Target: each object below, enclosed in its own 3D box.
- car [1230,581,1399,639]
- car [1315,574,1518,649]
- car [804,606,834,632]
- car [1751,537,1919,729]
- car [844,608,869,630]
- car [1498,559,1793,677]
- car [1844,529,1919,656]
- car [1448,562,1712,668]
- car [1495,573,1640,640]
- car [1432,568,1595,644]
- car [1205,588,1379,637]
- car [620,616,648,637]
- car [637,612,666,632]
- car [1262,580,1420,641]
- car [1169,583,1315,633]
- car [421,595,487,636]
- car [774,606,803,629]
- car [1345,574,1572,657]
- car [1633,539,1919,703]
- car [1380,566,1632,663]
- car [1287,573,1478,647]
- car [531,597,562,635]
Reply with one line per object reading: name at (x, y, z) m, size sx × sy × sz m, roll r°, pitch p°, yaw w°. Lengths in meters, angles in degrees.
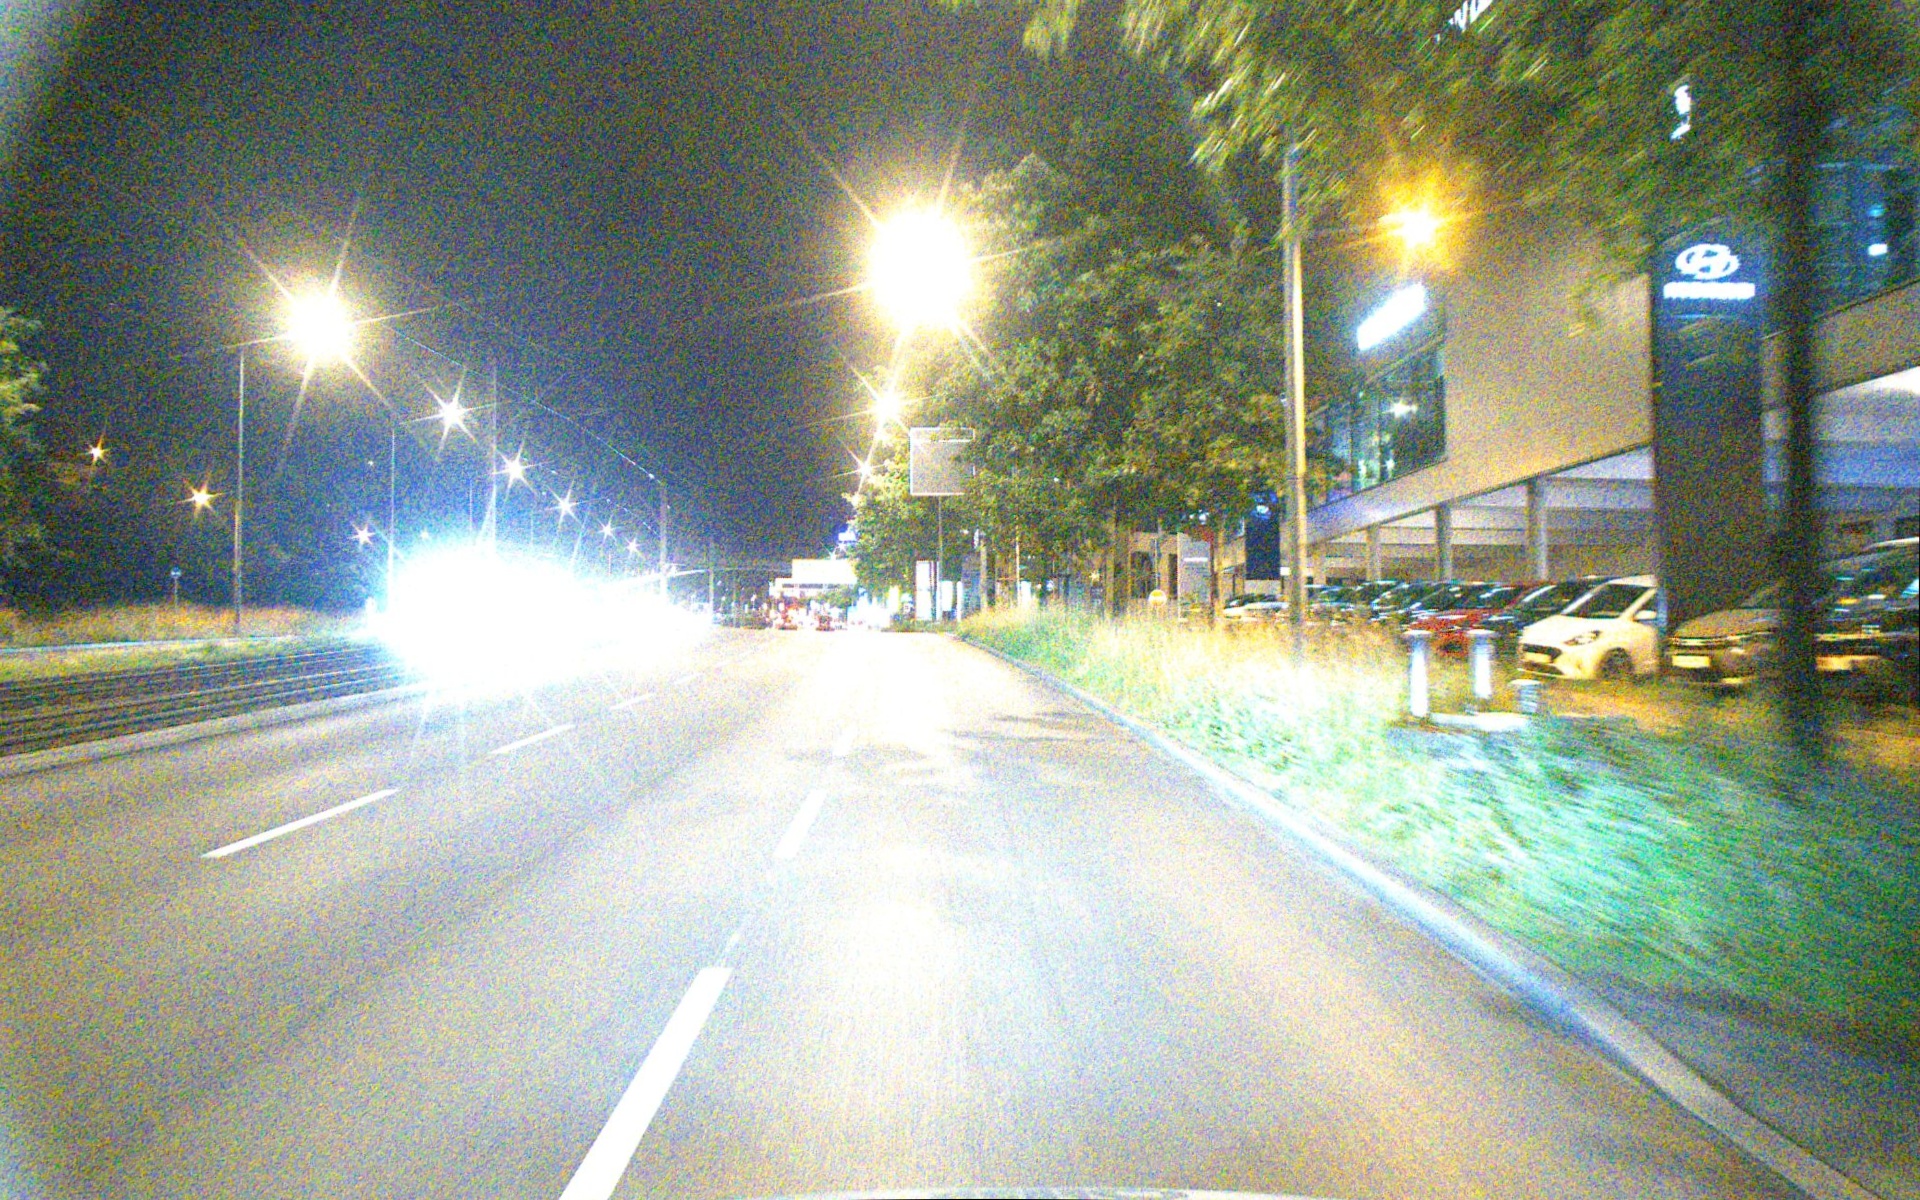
car at (9.267, 0.244, 43.291) m, size 3.927 × 1.448 × 1.898 m, roll 0°, pitch 1°, yaw -20°
car at (9.714, 0.205, 35.204) m, size 3.935 × 1.416 × 1.813 m, roll -2°, pitch 2°, yaw -24°
car at (-12.266, 1.643, 144.190) m, size 2.309 × 2.166 × 4.824 m, roll 0°, pitch 0°, yaw -2°
car at (9.946, 0.167, 15.779) m, size 4.010 × 1.595 × 1.849 m, roll -4°, pitch 1°, yaw -13°
car at (-10.427, 1.943, 167.026) m, size 2.378 × 2.150 × 4.824 m, roll 1°, pitch 0°, yaw -2°
car at (10.092, 0.239, 24.413) m, size 3.740 × 1.478 × 1.710 m, roll -3°, pitch 1°, yaw -16°
car at (16.299, -0.107, 25.134) m, size 1.816 × 1.951 × 4.761 m, roll 1°, pitch -1°, yaw -38°
car at (10.121, 0.223, 27.060) m, size 3.706 × 1.402 × 1.709 m, roll -4°, pitch 1°, yaw -15°
car at (14.463, 0.142, 39.449) m, size 1.310 × 1.512 × 3.025 m, roll 0°, pitch 0°, yaw -42°
car at (14.688, 0.195, 44.007) m, size 1.575 × 1.827 × 3.810 m, roll 1°, pitch -3°, yaw -42°
car at (9.251, 0.317, 46.012) m, size 4.574 × 1.286 × 1.931 m, roll 0°, pitch 1°, yaw -27°
car at (-26.876, 2.145, 136.568) m, size 1.956 × 1.622 × 3.994 m, roll -2°, pitch 0°, yaw -7°
car at (-23.755, 1.680, 127.576) m, size 1.588 × 1.465 × 4.335 m, roll -2°, pitch 0°, yaw -3°
car at (9.378, 0.267, 40.663) m, size 3.556 × 1.458 × 1.666 m, roll 1°, pitch -1°, yaw -26°
car at (8.683, 0.249, 51.004) m, size 4.054 × 1.445 × 1.869 m, roll 1°, pitch -1°, yaw -16°
car at (-22.418, 0.690, 73.461) m, size 1.743 × 1.743 × 4.225 m, roll 0°, pitch 0°, yaw -2°
car at (-15.283, 1.532, 147.695) m, size 2.217 × 2.049 × 4.824 m, roll 0°, pitch 0°, yaw -2°
car at (9.833, 0.284, 32.724) m, size 3.918 × 1.405 × 1.803 m, roll -3°, pitch 1°, yaw -13°
car at (10.337, 0.160, 19.174) m, size 4.383 × 1.574 × 1.765 m, roll -5°, pitch 0°, yaw -12°
car at (9.765, 0.239, 29.635) m, size 3.961 × 1.397 × 1.816 m, roll -4°, pitch 1°, yaw -18°
car at (9.685, 0.219, 37.948) m, size 3.931 × 1.495 × 1.821 m, roll -2°, pitch 1°, yaw -22°
car at (-31.205, 1.233, 124.836) m, size 2.109 × 2.718 × 6.936 m, roll -3°, pitch 0°, yaw -14°
